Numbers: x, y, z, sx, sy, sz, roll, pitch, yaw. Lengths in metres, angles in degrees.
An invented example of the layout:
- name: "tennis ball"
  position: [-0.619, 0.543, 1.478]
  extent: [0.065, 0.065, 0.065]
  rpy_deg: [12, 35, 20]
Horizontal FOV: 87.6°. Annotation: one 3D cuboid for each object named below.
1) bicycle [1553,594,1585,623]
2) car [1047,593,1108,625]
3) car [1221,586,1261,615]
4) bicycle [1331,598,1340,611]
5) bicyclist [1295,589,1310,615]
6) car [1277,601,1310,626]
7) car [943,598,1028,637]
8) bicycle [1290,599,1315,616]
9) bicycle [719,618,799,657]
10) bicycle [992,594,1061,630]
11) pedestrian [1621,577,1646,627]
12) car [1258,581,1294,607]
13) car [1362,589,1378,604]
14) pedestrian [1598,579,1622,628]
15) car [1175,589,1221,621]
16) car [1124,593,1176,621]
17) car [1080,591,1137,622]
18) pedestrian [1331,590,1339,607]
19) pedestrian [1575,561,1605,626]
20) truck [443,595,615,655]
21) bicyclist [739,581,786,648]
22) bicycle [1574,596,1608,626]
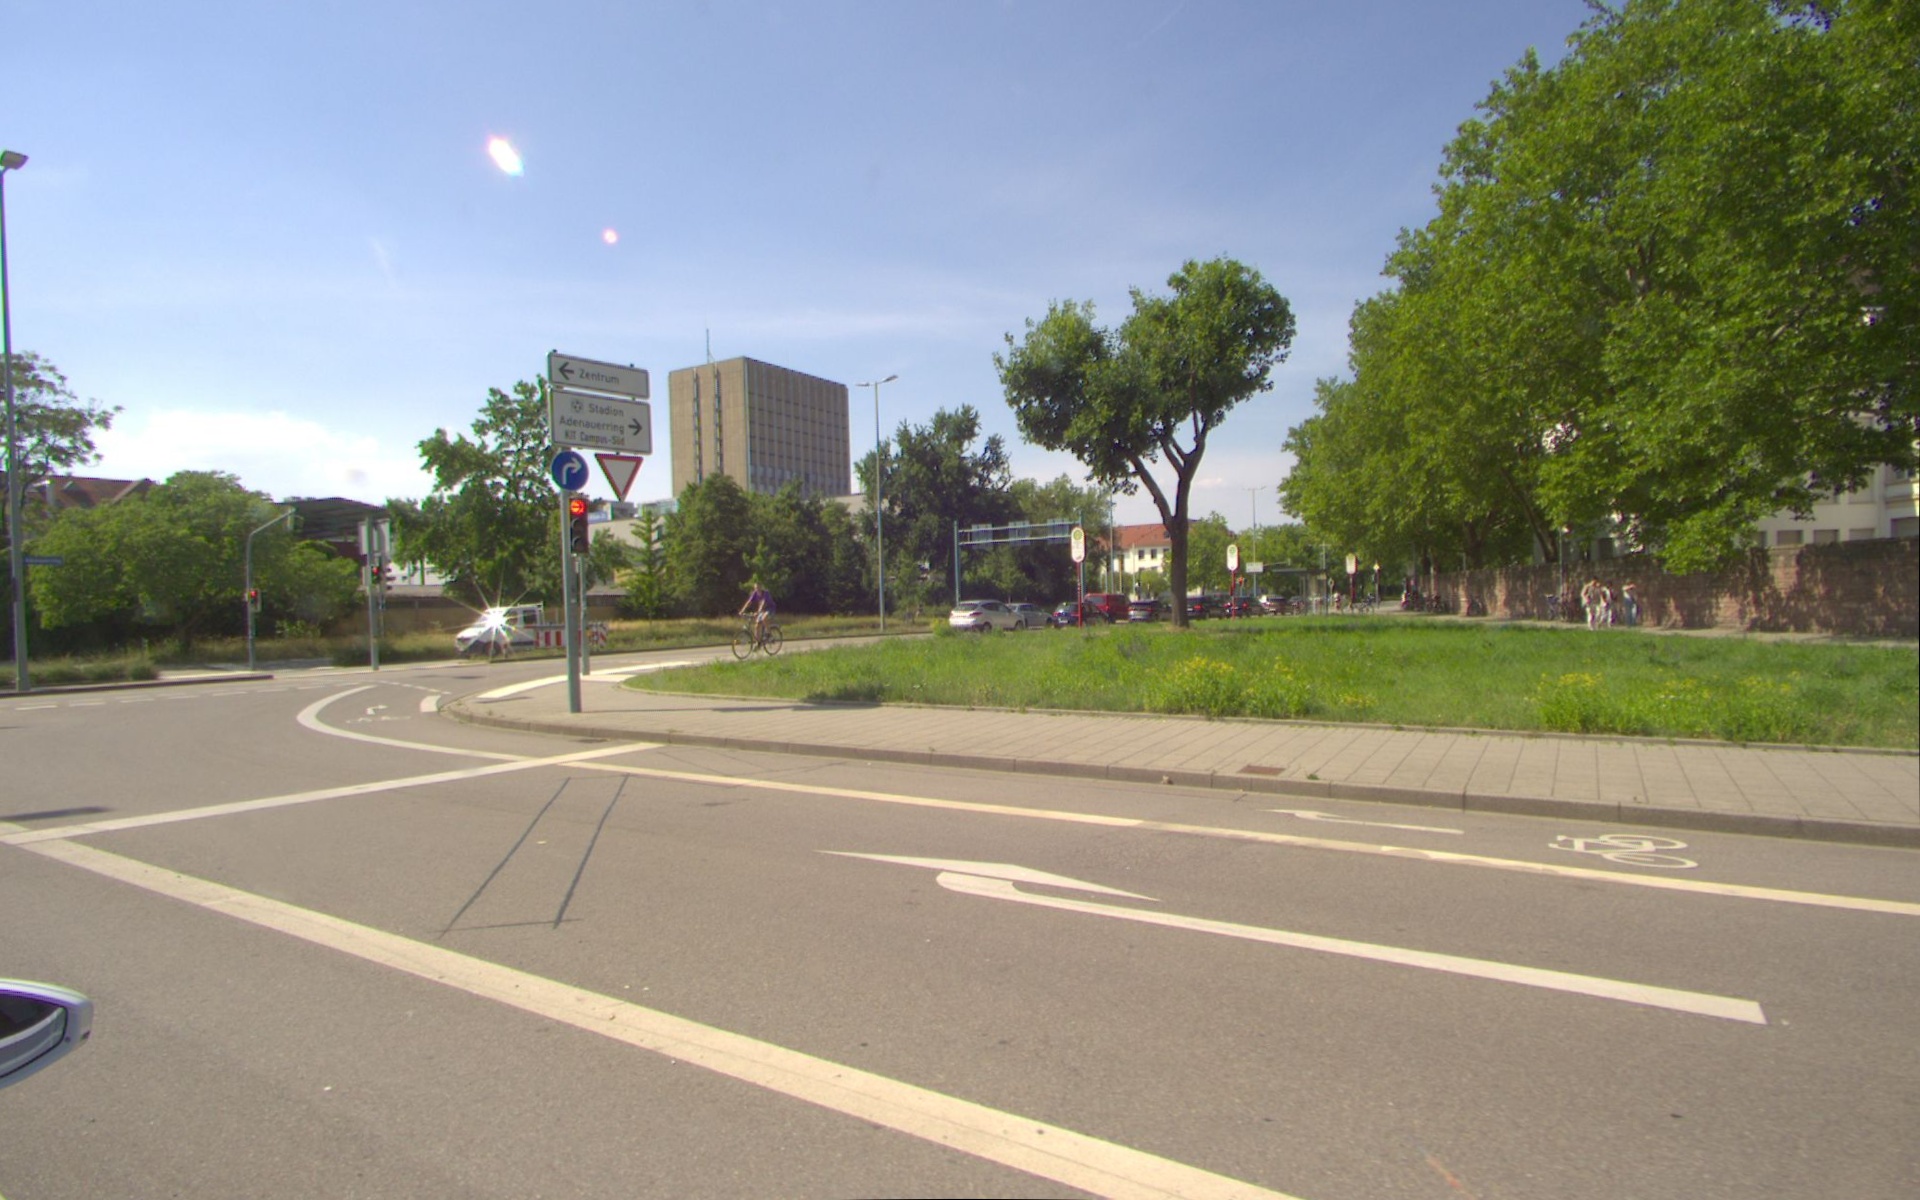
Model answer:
- name: "bicycle"
  position: [22.940, 0.314, 37.726]
  extent: [0.439, 1.047, 1.447]
  rpy_deg: [-1, 1, 6]
- name: "car"
  position: [6.304, 0.469, 53.452]
  extent: [1.563, 1.612, 3.975]
  rpy_deg: [-1, 1, 34]
- name: "car"
  position: [20.916, 0.002, 74.428]
  extent: [1.970, 2.040, 3.980]
  rpy_deg: [-1, 1, 30]
- name: "bicycle"
  position: [33.115, 0.406, 88.298]
  extent: [0.552, 1.066, 1.318]
  rpy_deg: [-1, 1, 30]
- name: "bicyclist"
  position: [27.416, 0.203, 80.154]
  extent: [0.769, 2.039, 1.265]
  rpy_deg: [-1, -2, 38]
- name: "car"
  position: [29.069, 1.186, 87.250]
  extent: [1.970, 2.039, 3.984]
  rpy_deg: [-1, -2, 29]
- name: "car"
  position: [1.247, 0.798, 46.490]
  extent: [1.691, 1.640, 4.183]
  rpy_deg: [-1, 1, 40]
- name: "bicycle"
  position: [27.380, 0.629, 80.079]
  extent: [0.838, 1.233, 3.462]
  rpy_deg: [-1, -2, 37]
- name: "bicycle"
  position: [-5.020, 0.925, 25.123]
  extent: [0.678, 0.899, 1.914]
  rpy_deg: [-1, 1, 45]
- name: "bicycle"
  position: [3.711, 0.654, 55.349]
  extent: [1.975, 1.839, 3.972]
  rpy_deg: [-2, 0, 36]
- name: "pedestrian"
  position: [21.993, 0.072, 32.699]
  extent: [0.515, 1.599, 0.701]
  rpy_deg: [-1, 1, 23]
- name: "car"
  position: [25.777, -0.525, 81.588]
  extent: [1.970, 2.040, 3.980]
  rpy_deg: [-1, 1, 30]
- name: "car"
  position: [62.725, -0.519, 153.021]
  extent: [1.968, 2.039, 3.987]
  rpy_deg: [-1, -2, 26]
- name: "pedestrian"
  position: [21.313, 0.116, 32.834]
  extent: [0.515, 1.599, 0.701]
  rpy_deg: [-1, 1, 23]
- name: "car"
  position: [16.083, 0.327, 67.594]
  extent: [1.970, 2.040, 3.980]
  rpy_deg: [-1, 1, 30]
- name: "car"
  position: [11.709, 0.418, 61.599]
  extent: [1.564, 1.612, 3.972]
  rpy_deg: [-1, 1, 37]
- name: "car"
  position: [9.535, 0.393, 63.980]
  extent: [1.950, 1.821, 4.587]
  rpy_deg: [-1, 1, 31]
- name: "pedestrian"
  position: [33.072, -0.124, 88.241]
  extent: [0.552, 1.458, 0.729]
  rpy_deg: [-1, 1, 30]
- name: "pedestrian"
  position: [20.015, -0.197, 31.813]
  extent: [0.513, 2.040, 0.596]
  rpy_deg: [-2, 1, -9]
- name: "truck"
  position: [-19.495, 1.054, 45.727]
  extent: [2.380, 2.386, 7.007]
  rpy_deg: [-3, 0, 33]
- name: "bicyclist"
  position: [-4.970, 0.363, 25.211]
  extent: [1.068, 1.659, 0.486]
  rpy_deg: [-1, 1, 29]
- name: "bicycle"
  position: [22.818, 0.376, 36.251]
  extent: [0.439, 1.047, 1.447]
  rpy_deg: [-1, 1, 6]
